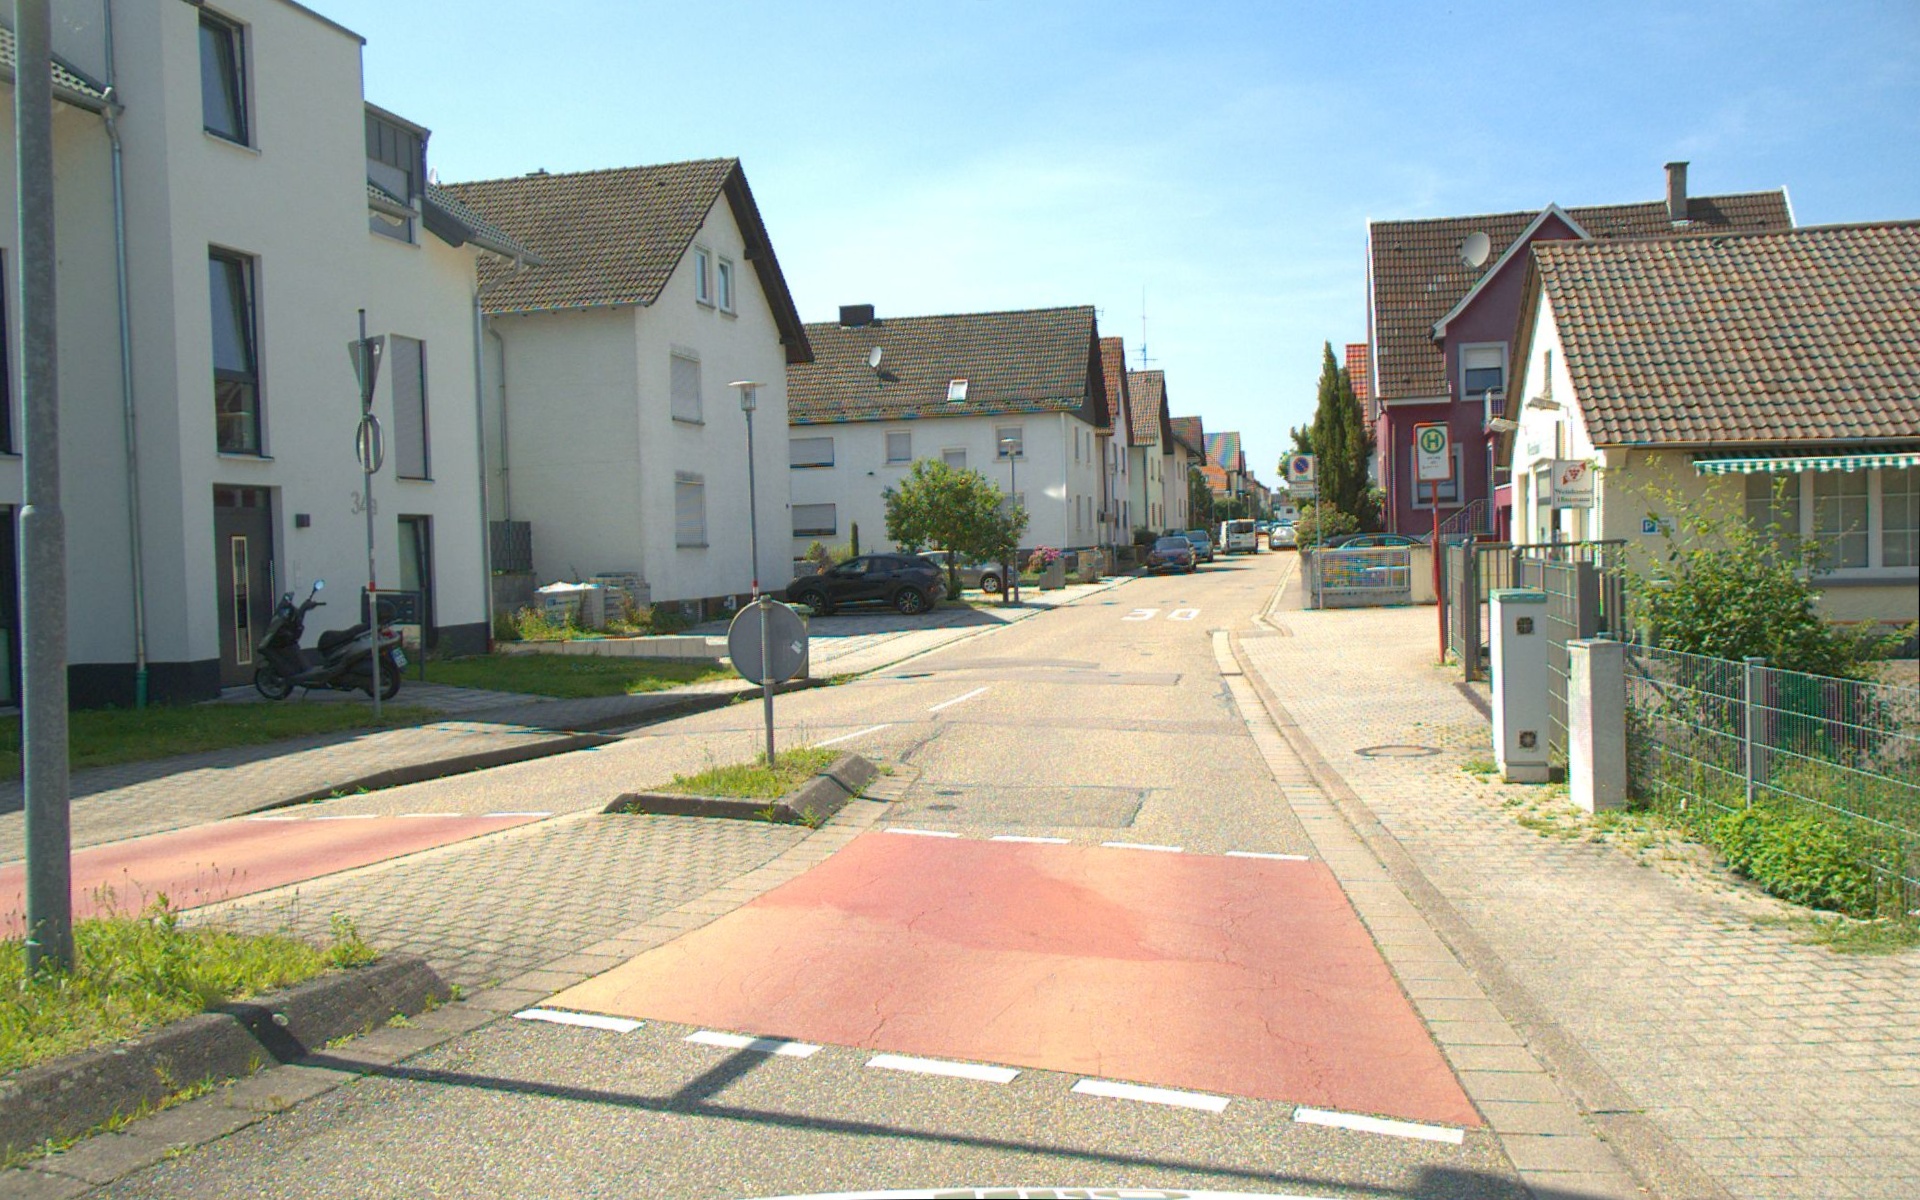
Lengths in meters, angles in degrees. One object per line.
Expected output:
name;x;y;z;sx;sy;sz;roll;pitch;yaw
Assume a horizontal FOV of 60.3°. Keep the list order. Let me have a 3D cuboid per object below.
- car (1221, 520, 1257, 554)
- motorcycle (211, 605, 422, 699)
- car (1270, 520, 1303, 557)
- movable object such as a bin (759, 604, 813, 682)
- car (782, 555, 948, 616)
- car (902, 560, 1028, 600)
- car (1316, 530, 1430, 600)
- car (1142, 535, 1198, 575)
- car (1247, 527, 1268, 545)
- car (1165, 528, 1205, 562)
car;16.001;-3.592;94.883;1.812;1.818;4.004;-2;0;12
motorcycle;-7.428;0.599;19.087;2.311;1.031;0.672;-1;-1;16
car;20.372;-3.821;103.046;1.910;2.108;4.004;-2;0;12
movable object such as a bin;-2.549;0.628;24.219;0.631;1.102;0.459;-1;1;20
car;-2.383;-0.374;41.980;3.902;1.407;1.662;-2;1;9
car;0.194;-0.666;54.708;3.902;1.211;1.842;-1;2;9
car;10.303;-0.865;41.360;2.685;1.625;1.172;-2;0;12
car;8.915;-1.913;69.981;1.951;1.580;4.004;-1;2;13
car;32.089;-6.850;178.161;1.912;1.845;4.003;0;1;15
car;11.435;-2.811;84.363;1.883;1.632;4.003;-2;1;6
